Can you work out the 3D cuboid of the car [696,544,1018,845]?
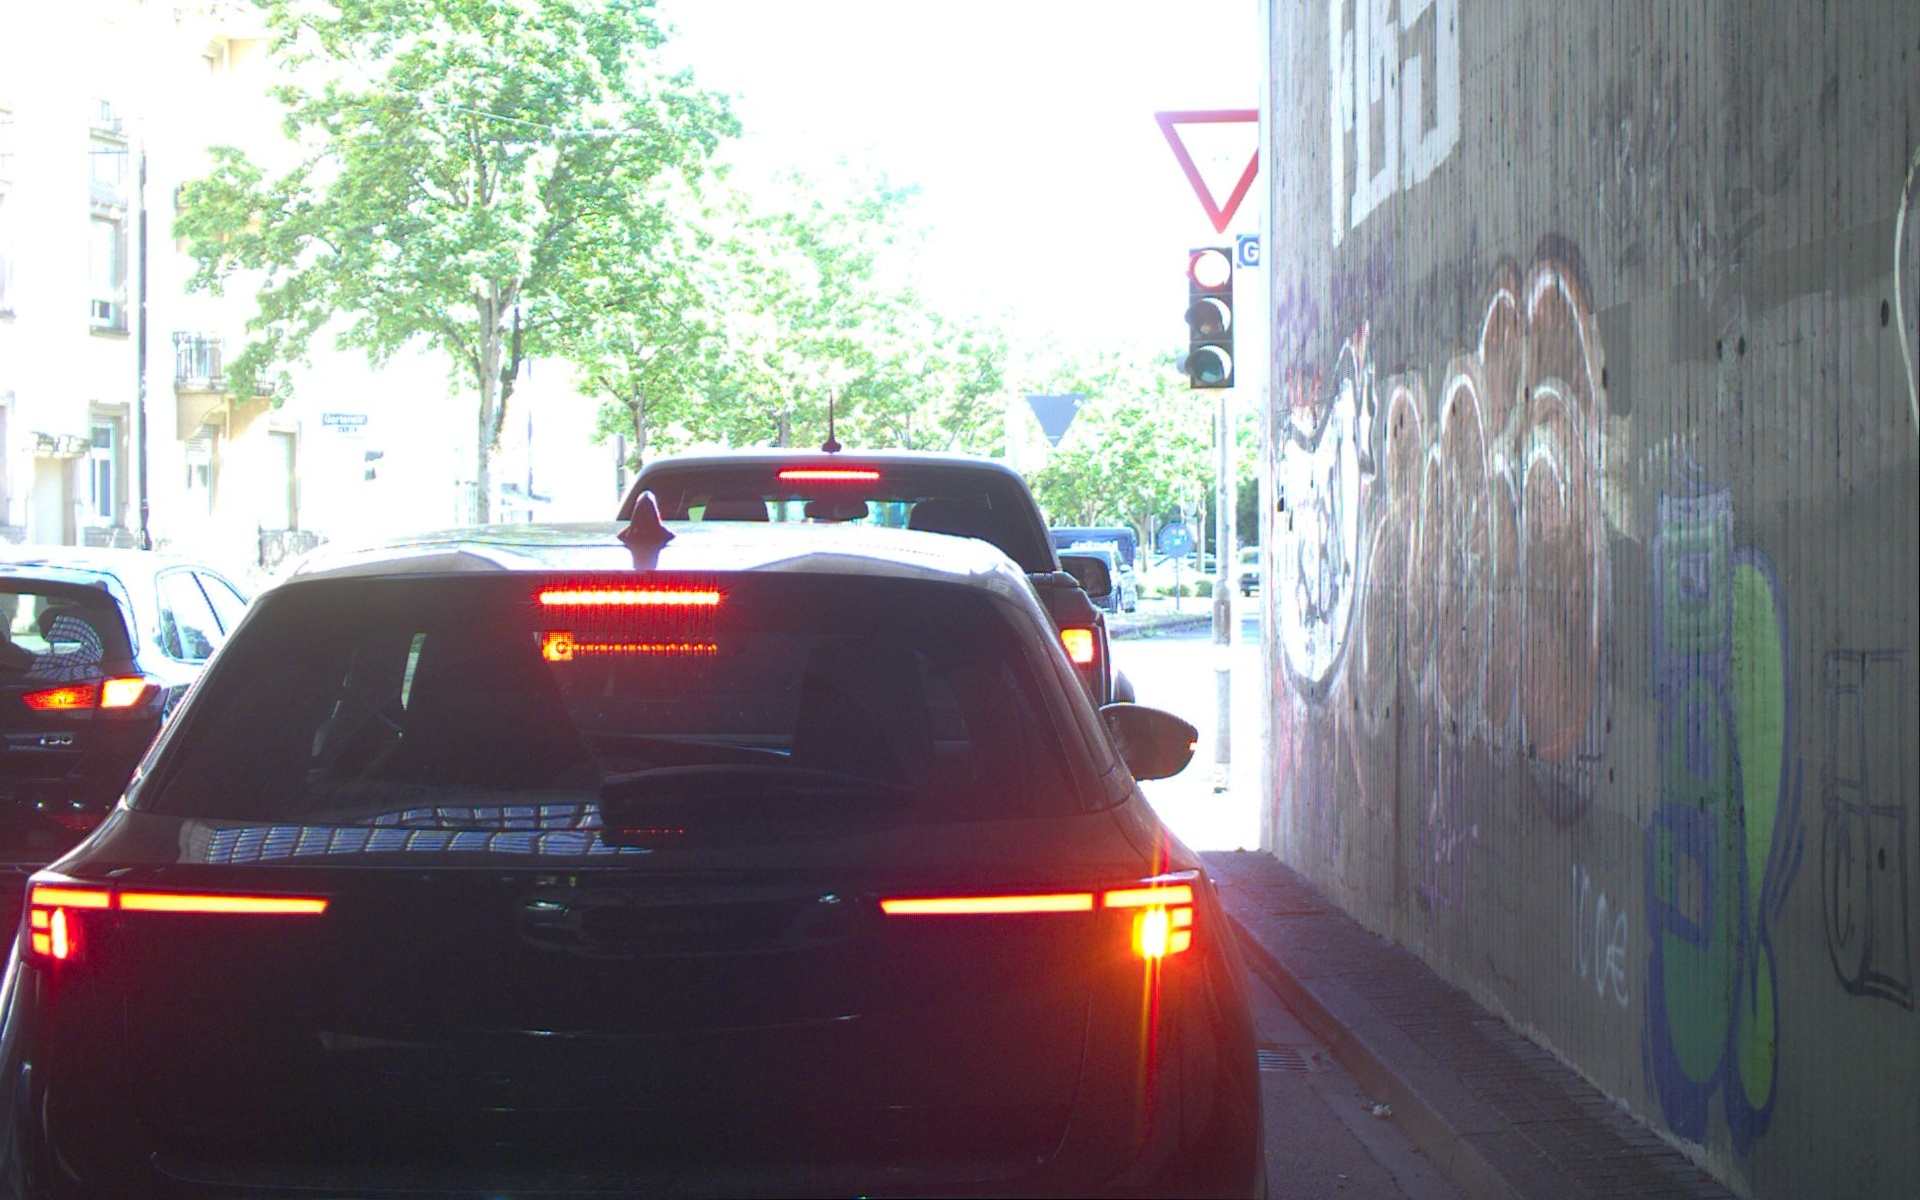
[{"bbox_3d":[-0.537,0.440,19.255,1.609,1.508,4.054,0,1,-1],"label":"car"}]

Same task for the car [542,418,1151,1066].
[{"bbox_3d":[-0.353,0.379,12.035,1.762,1.876,4.146,0,1,-1],"label":"car"}]

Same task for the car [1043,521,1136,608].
[{"bbox_3d":[2.599,-0.701,68.309,1.754,1.661,3.944,1,1,3],"label":"car"}]

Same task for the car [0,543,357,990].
[{"bbox_3d":[-3.530,0.519,13.283,1.762,1.475,3.844,0,1,-1],"label":"car"}]

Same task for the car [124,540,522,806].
[{"bbox_3d":[-3.779,0.373,21.007,1.762,1.475,3.844,0,1,-1],"label":"car"}]

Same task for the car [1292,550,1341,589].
[{"bbox_3d":[15.314,-1.309,147.643,1.754,1.661,3.943,1,1,11],"label":"car"}]

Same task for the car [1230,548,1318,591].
[{"bbox_3d":[12.618,-1.218,137.894,1.820,1.661,4.808,1,1,27],"label":"car"}]

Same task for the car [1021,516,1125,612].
[{"bbox_3d":[2.078,-0.647,62.190,1.754,1.661,3.944,1,1,3],"label":"car"}]

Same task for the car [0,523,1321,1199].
[{"bbox_3d":[-0.481,0.641,6.094,1.762,1.526,4.089,0,1,-1],"label":"car"}]
